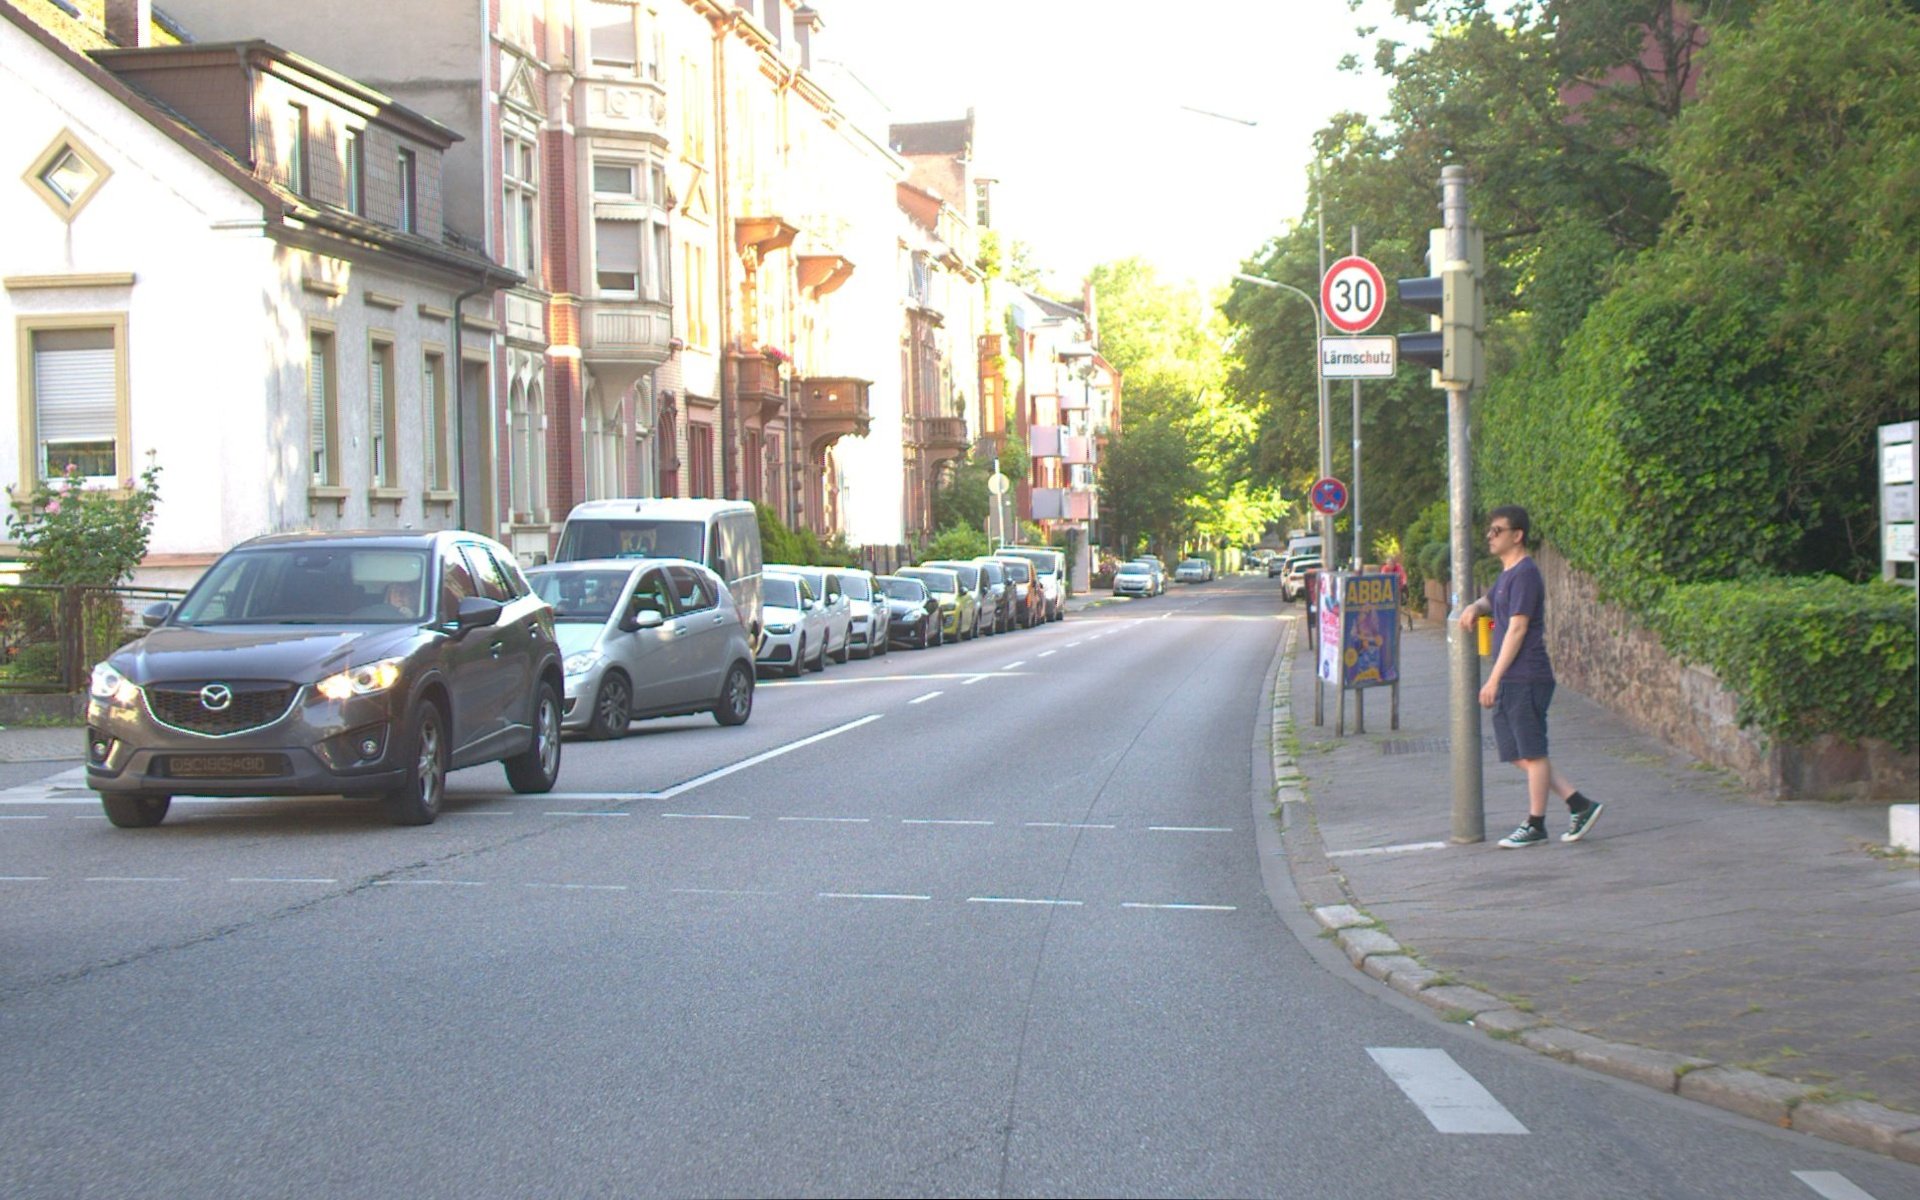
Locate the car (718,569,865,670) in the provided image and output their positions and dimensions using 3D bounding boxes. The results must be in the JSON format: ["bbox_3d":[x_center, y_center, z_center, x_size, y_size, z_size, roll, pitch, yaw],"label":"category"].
[{"bbox_3d":[-2.620,0.283,54.260,1.703,1.497,4.020,0,1,6],"label":"car"}]

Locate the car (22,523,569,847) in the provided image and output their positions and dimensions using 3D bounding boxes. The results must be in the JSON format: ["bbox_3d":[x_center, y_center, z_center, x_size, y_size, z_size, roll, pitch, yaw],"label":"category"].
[{"bbox_3d":[-3.703,0.389,20.005,1.954,1.643,4.282,0,2,6],"label":"car"}]

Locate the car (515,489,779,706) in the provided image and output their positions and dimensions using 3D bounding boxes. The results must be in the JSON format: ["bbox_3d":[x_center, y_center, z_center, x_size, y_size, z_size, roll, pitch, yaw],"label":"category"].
[{"bbox_3d":[-3.717,-0.075,42.003,2.068,2.452,6.013,0,1,6],"label":"car"}]

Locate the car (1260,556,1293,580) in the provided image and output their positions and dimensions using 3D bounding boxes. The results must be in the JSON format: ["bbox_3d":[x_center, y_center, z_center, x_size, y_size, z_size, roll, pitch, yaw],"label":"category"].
[{"bbox_3d":[21.872,-2.217,237.749,1.994,1.486,4.470,-2,2,3],"label":"car"}]

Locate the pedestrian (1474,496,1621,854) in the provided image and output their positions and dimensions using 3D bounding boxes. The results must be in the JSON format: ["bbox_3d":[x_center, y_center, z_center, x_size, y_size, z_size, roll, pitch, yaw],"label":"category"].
[{"bbox_3d":[2.837,0.351,16.648,0.602,1.687,0.612,-2,1,5],"label":"pedestrian"}]

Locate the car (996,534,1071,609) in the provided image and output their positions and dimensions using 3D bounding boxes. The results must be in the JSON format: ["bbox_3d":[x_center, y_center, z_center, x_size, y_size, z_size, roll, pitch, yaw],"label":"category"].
[{"bbox_3d":[2.045,-0.793,94.625,1.793,2.003,4.697,0,1,5],"label":"car"}]

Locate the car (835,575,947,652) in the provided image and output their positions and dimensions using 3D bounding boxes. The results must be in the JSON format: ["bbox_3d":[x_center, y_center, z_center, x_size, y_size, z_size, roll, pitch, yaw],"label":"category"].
[{"bbox_3d":[-1.253,0.229,63.937,1.703,1.362,3.859,0,1,5],"label":"car"}]

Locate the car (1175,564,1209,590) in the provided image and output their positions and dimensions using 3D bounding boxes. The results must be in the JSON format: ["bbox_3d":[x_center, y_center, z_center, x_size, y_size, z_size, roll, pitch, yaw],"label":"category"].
[{"bbox_3d":[14.998,-1.501,221.881,1.994,1.486,4.470,-2,2,6],"label":"car"}]

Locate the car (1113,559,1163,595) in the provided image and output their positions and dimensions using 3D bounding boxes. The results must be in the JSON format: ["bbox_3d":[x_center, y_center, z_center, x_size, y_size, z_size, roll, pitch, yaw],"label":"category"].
[{"bbox_3d":[8.086,-1.045,155.709,1.994,1.486,4.470,-2,2,6],"label":"car"}]

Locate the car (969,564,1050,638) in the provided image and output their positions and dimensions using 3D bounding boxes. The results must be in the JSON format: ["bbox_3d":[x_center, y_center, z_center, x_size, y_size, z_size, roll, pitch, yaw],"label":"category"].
[{"bbox_3d":[1.232,-0.002,84.121,1.703,1.732,3.856,0,1,5],"label":"car"}]

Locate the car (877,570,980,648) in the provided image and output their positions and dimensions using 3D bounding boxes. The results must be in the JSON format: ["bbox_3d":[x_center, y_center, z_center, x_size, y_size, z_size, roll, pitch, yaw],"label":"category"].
[{"bbox_3d":[-0.610,0.190,68.974,1.703,1.498,4.071,0,0,5],"label":"car"}]

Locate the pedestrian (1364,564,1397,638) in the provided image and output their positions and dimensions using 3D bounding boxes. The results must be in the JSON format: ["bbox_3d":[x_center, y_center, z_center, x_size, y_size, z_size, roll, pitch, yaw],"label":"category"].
[{"bbox_3d":[8.087,0.013,66.133,0.598,1.398,0.668,0,2,4],"label":"pedestrian"}]

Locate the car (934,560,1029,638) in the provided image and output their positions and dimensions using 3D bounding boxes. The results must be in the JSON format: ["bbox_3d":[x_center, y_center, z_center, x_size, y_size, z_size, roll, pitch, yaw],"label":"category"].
[{"bbox_3d":[0.531,-0.052,78.953,1.703,1.702,4.439,0,1,7],"label":"car"}]

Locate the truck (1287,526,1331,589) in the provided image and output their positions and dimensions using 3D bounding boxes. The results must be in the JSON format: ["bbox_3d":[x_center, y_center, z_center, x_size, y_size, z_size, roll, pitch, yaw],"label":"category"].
[{"bbox_3d":[16.566,-2.038,163.427,1.994,2.887,4.470,-2,1,5],"label":"truck"}]

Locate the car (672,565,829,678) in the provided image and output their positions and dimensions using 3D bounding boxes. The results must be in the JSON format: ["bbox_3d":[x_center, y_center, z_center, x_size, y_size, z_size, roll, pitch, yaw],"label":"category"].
[{"bbox_3d":[-2.925,0.272,48.683,1.703,1.497,3.823,0,1,5],"label":"car"}]

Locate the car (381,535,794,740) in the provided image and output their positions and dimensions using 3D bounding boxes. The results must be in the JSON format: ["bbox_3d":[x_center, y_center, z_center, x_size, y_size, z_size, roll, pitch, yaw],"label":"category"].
[{"bbox_3d":[-3.224,0.266,30.713,1.955,1.643,4.279,1,2,21],"label":"car"}]

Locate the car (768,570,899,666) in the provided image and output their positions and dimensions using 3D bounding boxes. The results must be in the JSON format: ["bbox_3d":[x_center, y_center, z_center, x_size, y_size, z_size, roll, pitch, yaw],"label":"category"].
[{"bbox_3d":[-2.120,0.279,58.765,1.703,1.531,4.548,0,1,5],"label":"car"}]

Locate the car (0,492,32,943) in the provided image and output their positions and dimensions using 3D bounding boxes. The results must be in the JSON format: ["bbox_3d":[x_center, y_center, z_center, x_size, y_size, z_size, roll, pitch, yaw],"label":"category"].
[{"bbox_3d":[-4.507,0.482,10.664,1.776,1.643,4.534,0,2,4],"label":"car"}]

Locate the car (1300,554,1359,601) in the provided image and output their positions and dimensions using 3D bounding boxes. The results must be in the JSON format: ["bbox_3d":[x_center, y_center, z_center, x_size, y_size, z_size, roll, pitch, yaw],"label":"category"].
[{"bbox_3d":[13.161,-0.807,122.299,1.994,1.512,3.999,-2,1,7],"label":"car"}]

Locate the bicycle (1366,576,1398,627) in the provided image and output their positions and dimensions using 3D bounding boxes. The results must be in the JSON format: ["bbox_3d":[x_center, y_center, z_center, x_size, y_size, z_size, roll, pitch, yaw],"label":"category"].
[{"bbox_3d":[8.038,0.028,65.514,0.566,0.967,0.492,0,2,3],"label":"bicycle"}]
